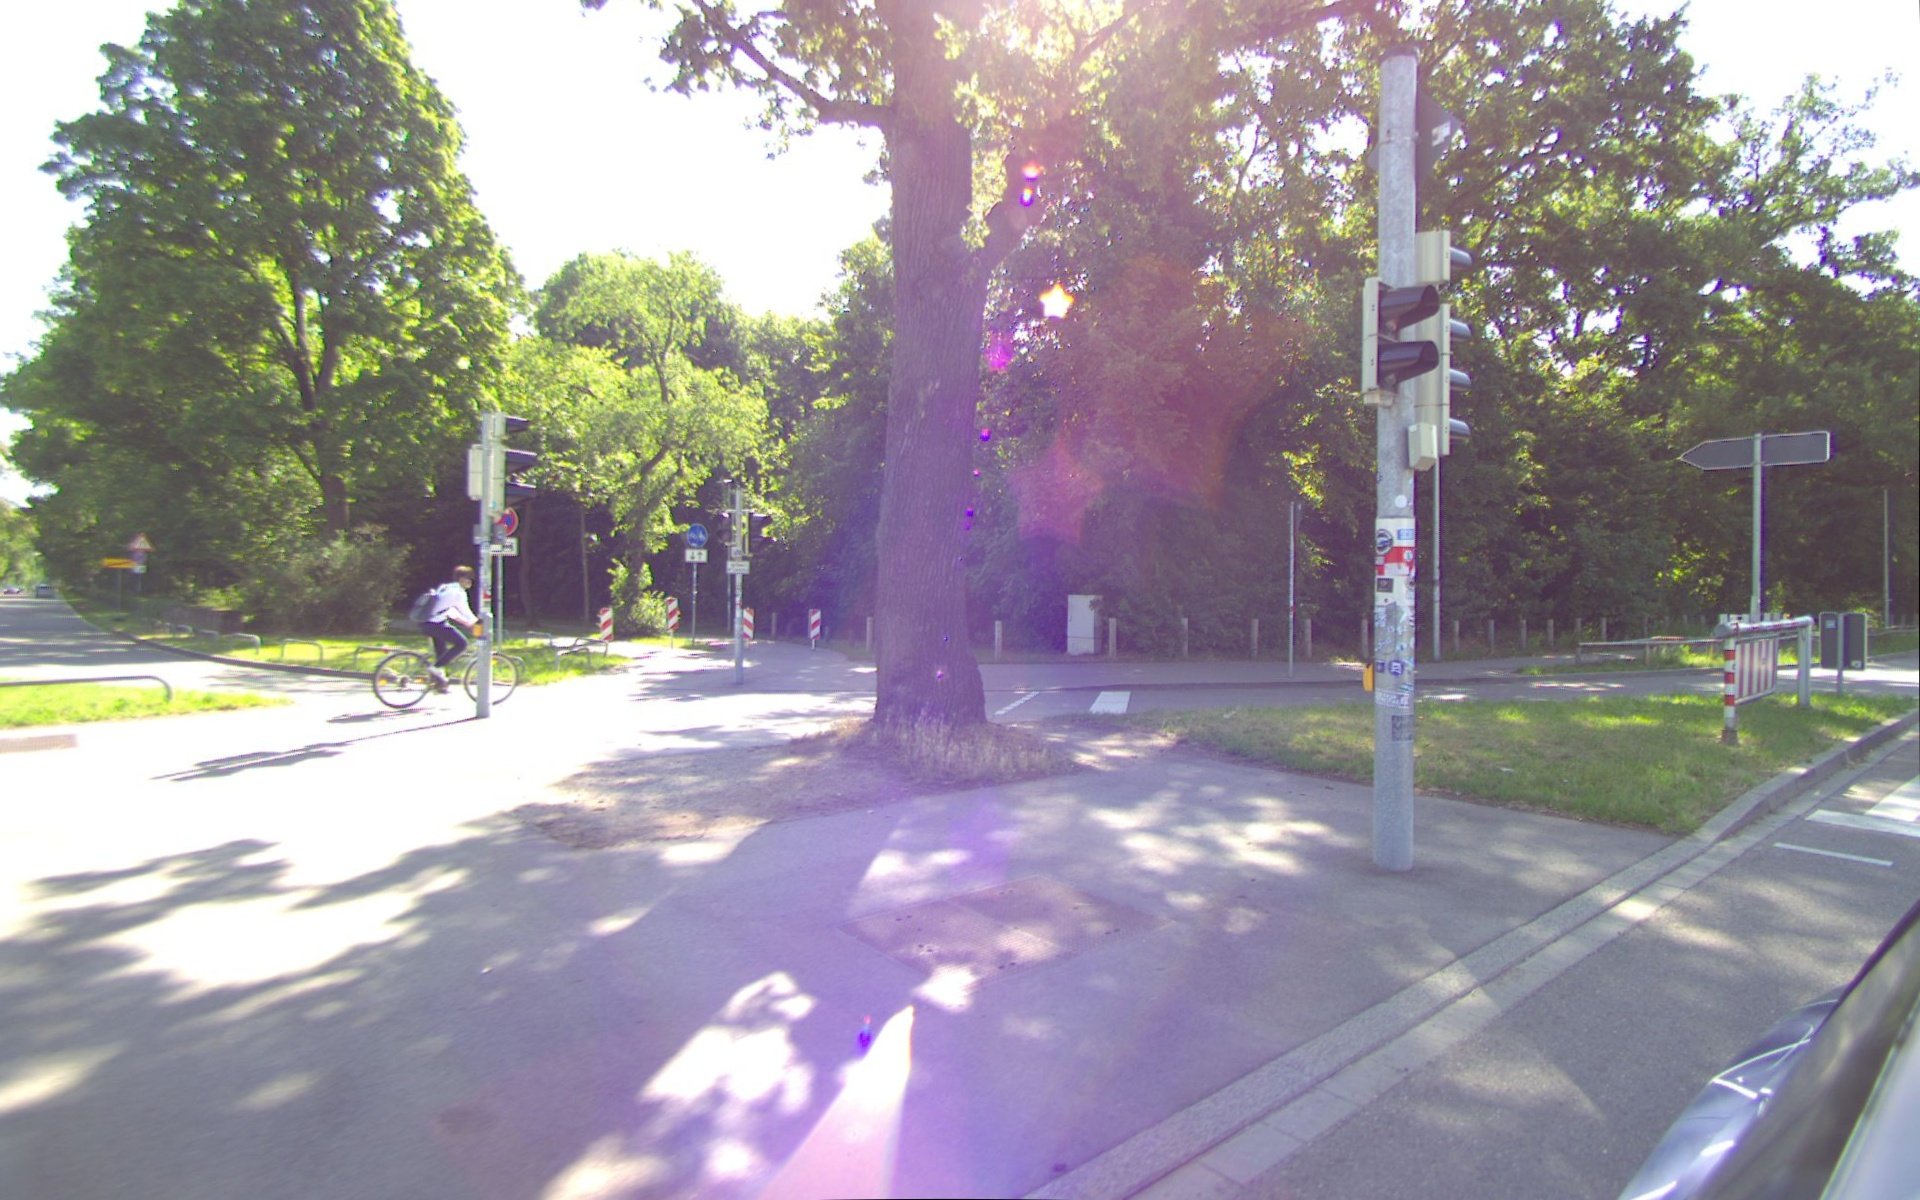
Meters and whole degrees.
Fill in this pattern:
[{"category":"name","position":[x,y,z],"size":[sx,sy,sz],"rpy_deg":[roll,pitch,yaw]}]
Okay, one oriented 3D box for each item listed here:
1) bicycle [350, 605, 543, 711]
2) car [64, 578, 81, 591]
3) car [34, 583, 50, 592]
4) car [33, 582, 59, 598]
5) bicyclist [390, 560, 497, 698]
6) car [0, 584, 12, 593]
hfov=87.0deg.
[{"category":"bicycle","position":[-6.461,0.680,12.824],"size":[2.065,1.214,0.725],"rpy_deg":[0,0,-43]},{"category":"car","position":[-144.475,-2.565,164.748],"size":[1.847,2.039,3.996],"rpy_deg":[0,0,-39]},{"category":"car","position":[-161.851,-2.141,178.446],"size":[1.728,1.527,3.996],"rpy_deg":[0,0,-39]},{"category":"car","position":[-106.052,-1.167,117.442],"size":[1.964,1.794,3.996],"rpy_deg":[0,1,-39]},{"category":"bicyclist","position":[-6.525,0.345,12.790],"size":[1.040,1.659,0.725],"rpy_deg":[0,0,-43]},{"category":"car","position":[-144.931,-1.737,153.438],"size":[1.601,1.419,3.473],"rpy_deg":[0,1,-44]}]
